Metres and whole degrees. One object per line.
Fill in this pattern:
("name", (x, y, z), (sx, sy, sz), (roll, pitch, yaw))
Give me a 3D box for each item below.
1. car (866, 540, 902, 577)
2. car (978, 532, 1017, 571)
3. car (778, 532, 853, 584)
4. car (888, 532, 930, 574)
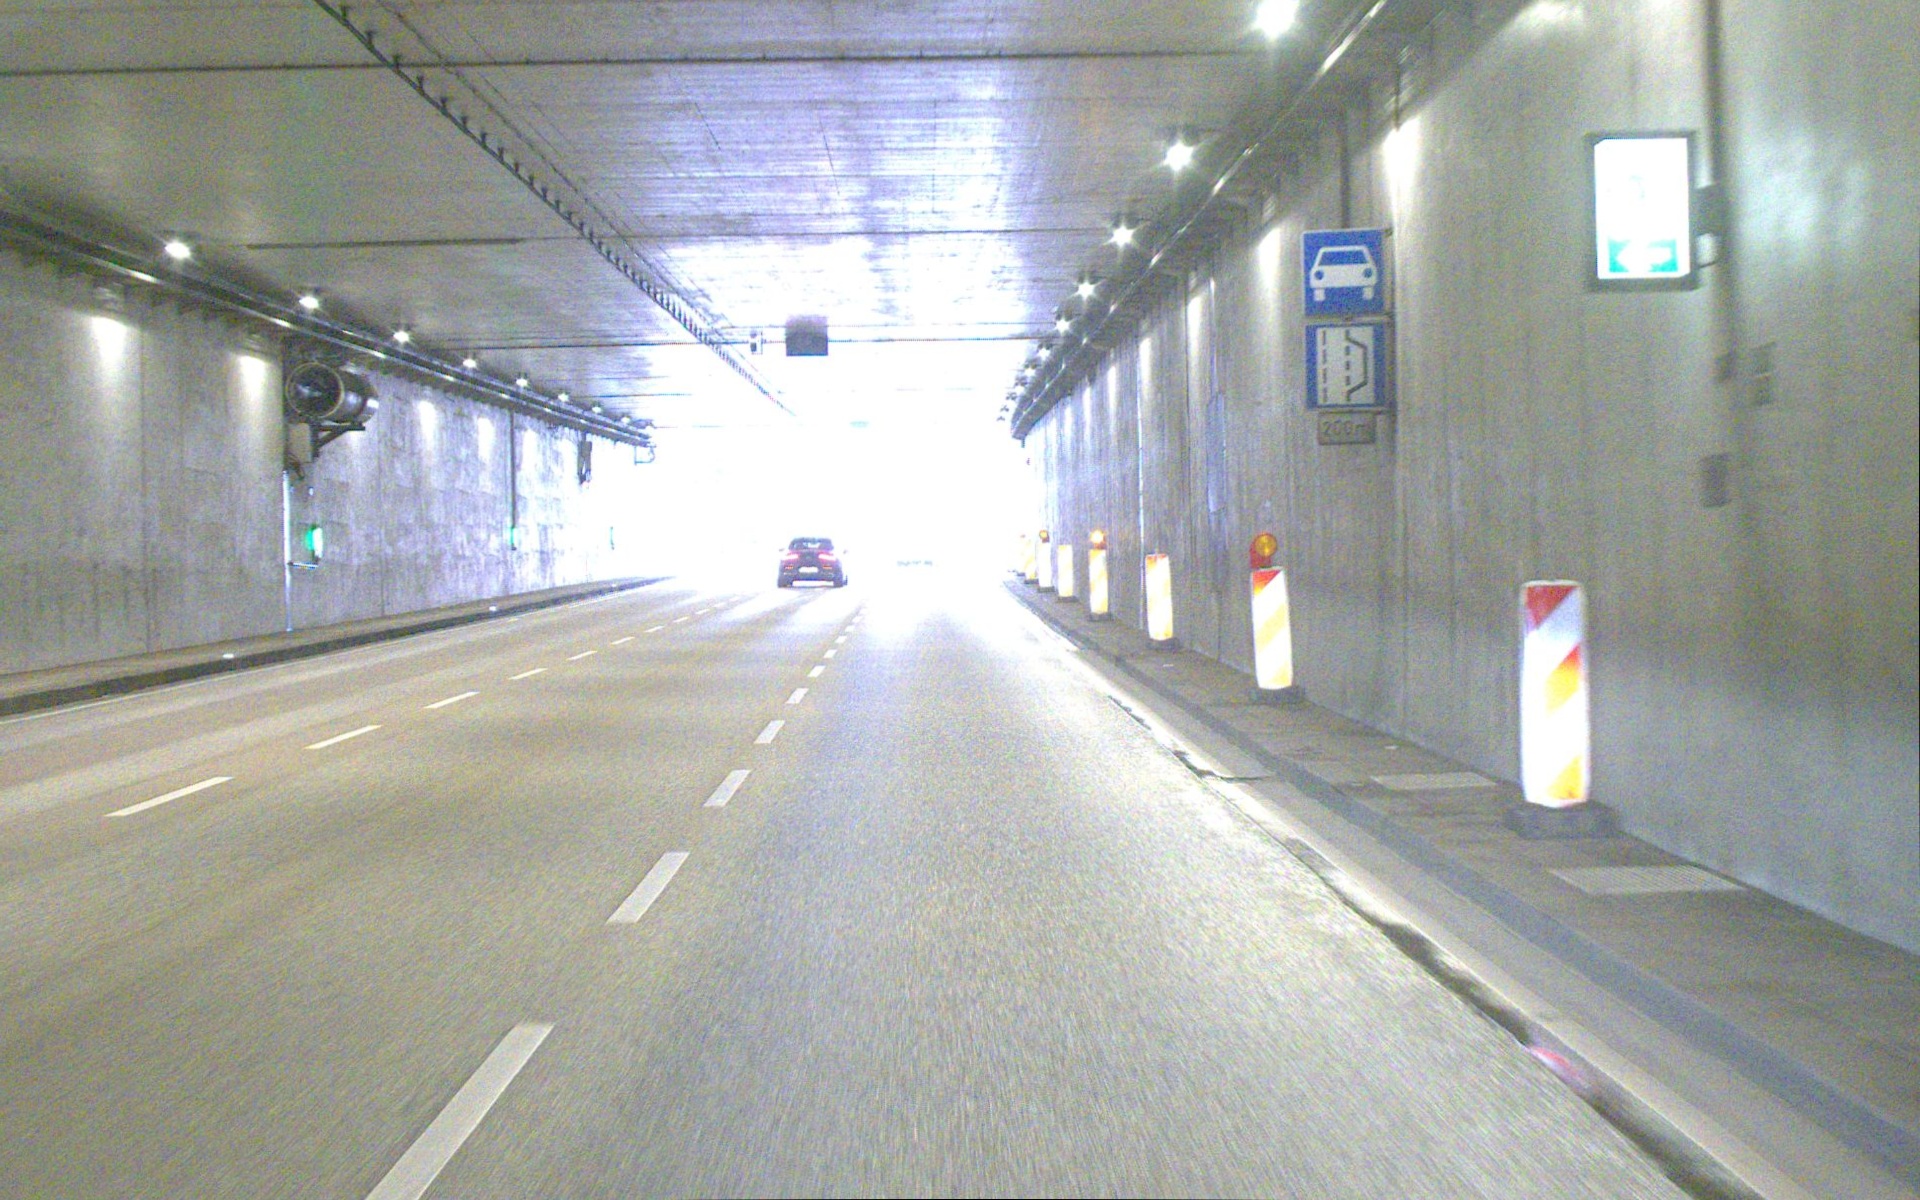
("car", (-4.306, -2.371, 195.385), (1.993, 2.007, 4.000), (-1, 0, -1))
("car", (1.973, -2.564, 182.671), (1.993, 2.007, 4.000), (-1, 0, 0))
("car", (-4.132, -1.201, 97.811), (1.993, 1.443, 4.315), (1, 1, -4))
("car", (-2.483, -2.286, 168.432), (1.993, 2.007, 4.000), (-1, 0, 0))
